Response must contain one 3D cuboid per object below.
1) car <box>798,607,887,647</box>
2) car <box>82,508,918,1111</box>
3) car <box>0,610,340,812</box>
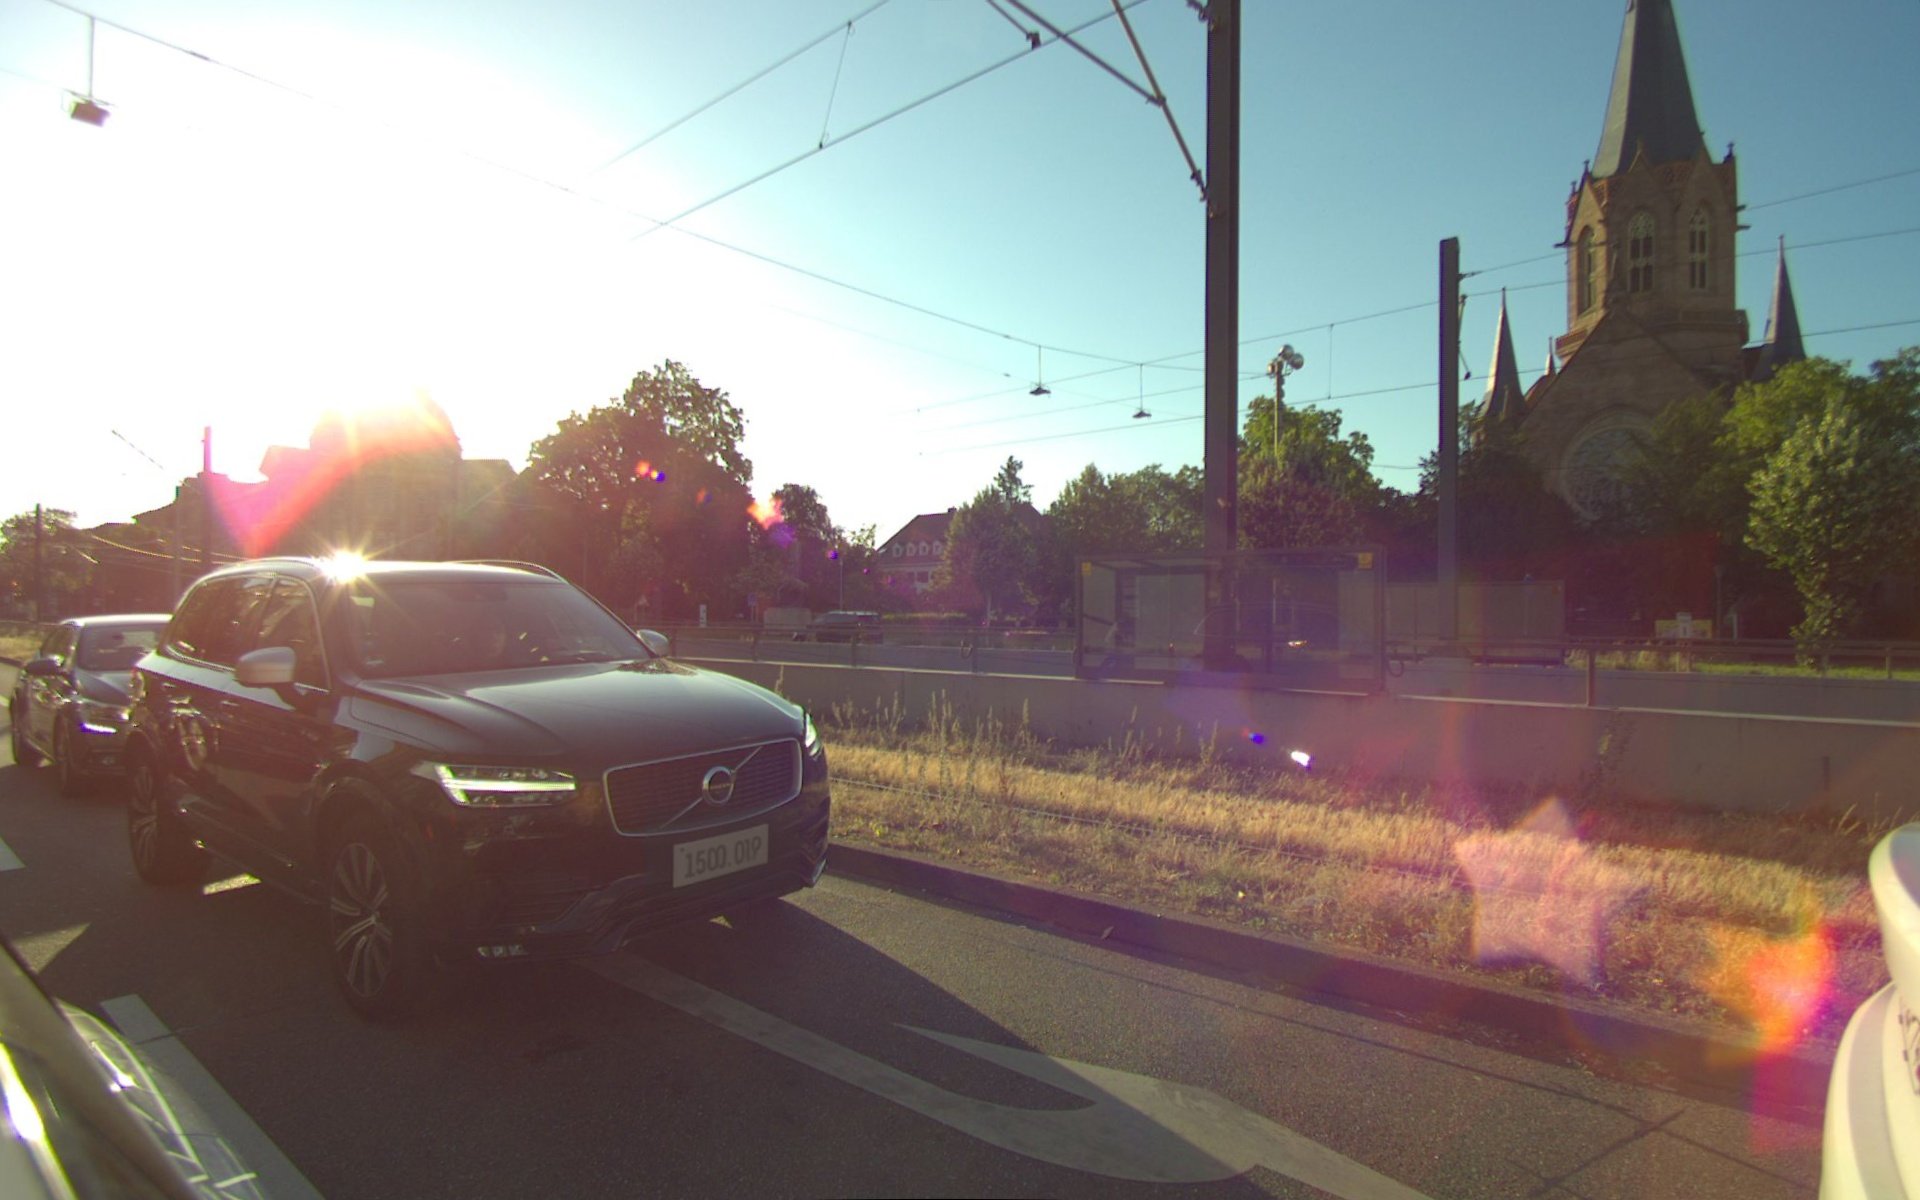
[{"bbox_3d":[-5.318,1.209,45.501,4.089,1.708,1.692,-1,-2,42],"label":"car"},{"bbox_3d":[-2.677,0.606,5.183,4.846,1.725,1.932,-1,1,39],"label":"car"},{"bbox_3d":[-7.422,0.842,9.335,3.917,1.411,1.792,-1,1,41],"label":"car"}]
